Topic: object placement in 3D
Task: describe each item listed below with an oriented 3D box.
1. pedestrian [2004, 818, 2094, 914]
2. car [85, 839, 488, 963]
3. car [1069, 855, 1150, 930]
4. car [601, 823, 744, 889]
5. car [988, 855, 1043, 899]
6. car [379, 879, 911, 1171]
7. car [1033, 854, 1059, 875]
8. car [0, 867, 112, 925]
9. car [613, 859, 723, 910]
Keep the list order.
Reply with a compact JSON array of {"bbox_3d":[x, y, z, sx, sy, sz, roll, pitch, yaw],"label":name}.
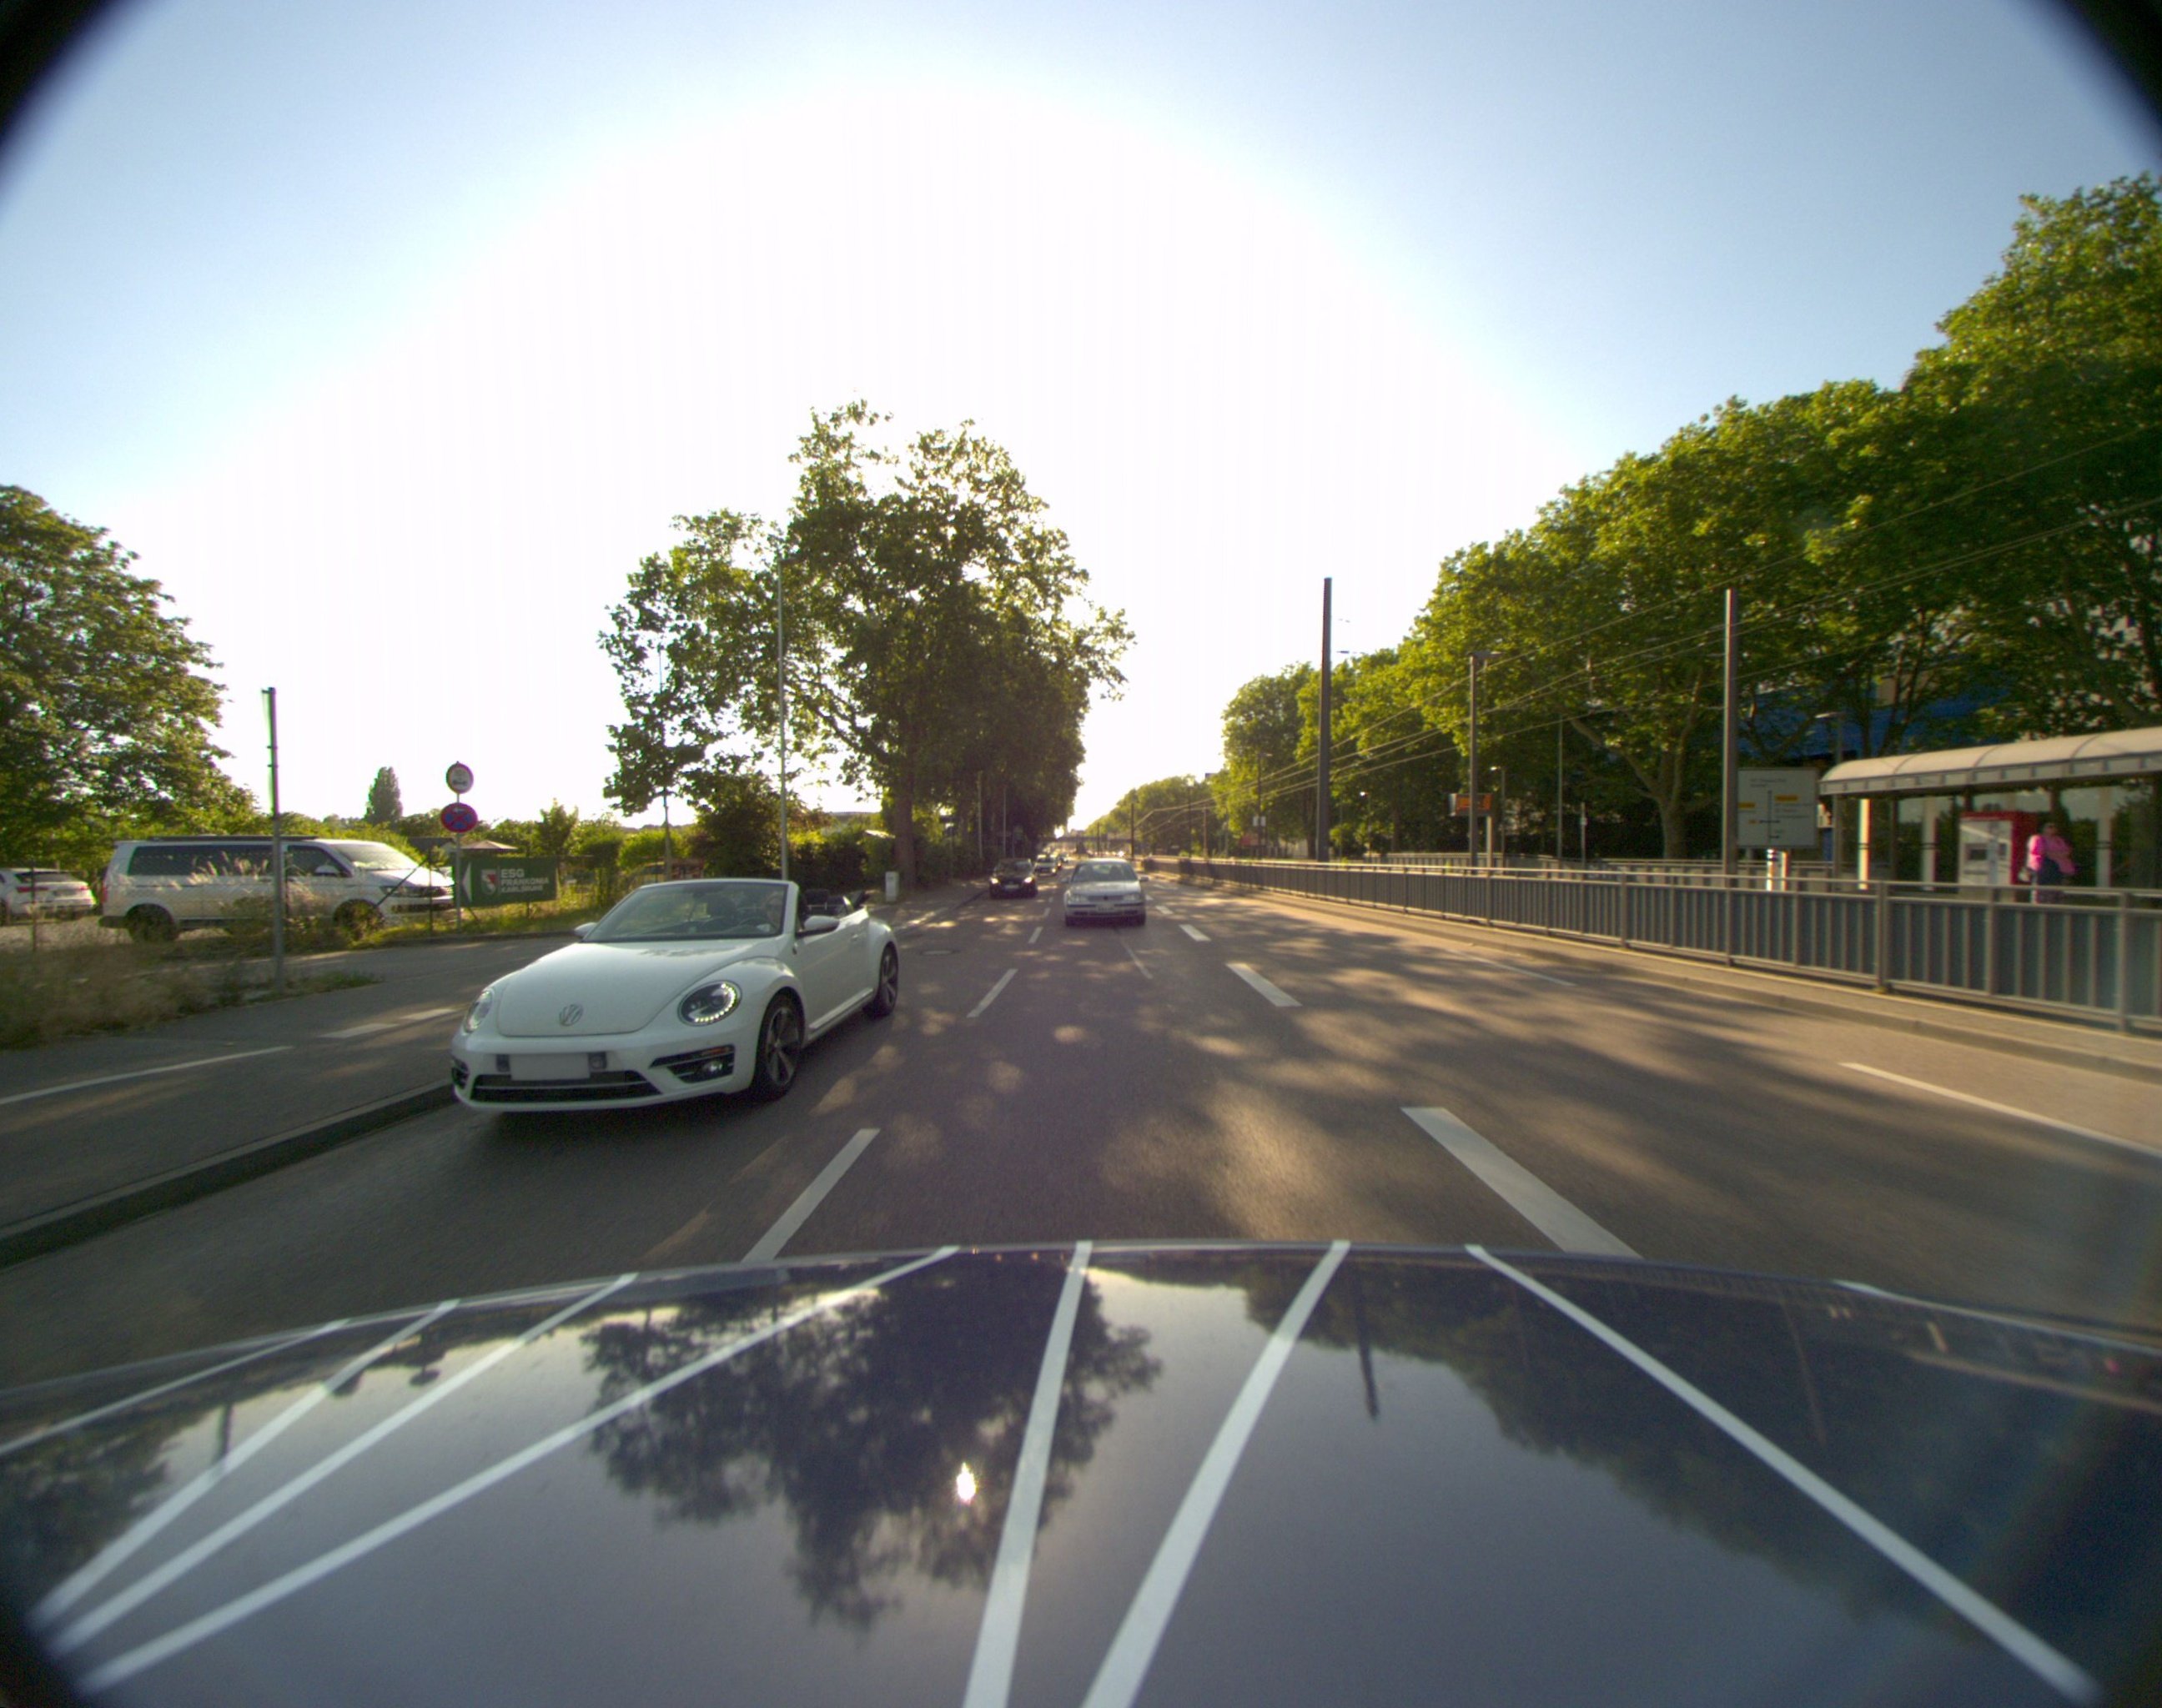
[{"bbox_3d":[17.673,0.209,13.890,0.763,1.700,0.678,0,1,-2],"label":"pedestrian"},{"bbox_3d":[-15.294,0.846,14.959,5.352,2.010,2.103,-3,1,-5],"label":"car"},{"bbox_3d":[0.639,0.789,17.263,1.602,1.440,3.799,-2,1,2],"label":"car"},{"bbox_3d":[-17.595,0.047,33.256,2.940,2.607,5.922,0,0,1],"label":"car"},{"bbox_3d":[-2.470,0.840,29.499,1.741,1.502,3.999,-2,0,0],"label":"car"},{"bbox_3d":[-2.811,0.993,6.099,1.856,1.415,3.980,-1,0,2],"label":"car"},{"bbox_3d":[-2.680,0.789,58.724,1.871,1.422,3.830,-2,0,-1],"label":"car"},{"bbox_3d":[-32.008,1.294,22.147,4.662,1.560,1.858,-3,1,-6],"label":"car"},{"bbox_3d":[-14.763,1.034,27.466,1.999,1.638,4.154,-1,0,-6],"label":"car"}]
